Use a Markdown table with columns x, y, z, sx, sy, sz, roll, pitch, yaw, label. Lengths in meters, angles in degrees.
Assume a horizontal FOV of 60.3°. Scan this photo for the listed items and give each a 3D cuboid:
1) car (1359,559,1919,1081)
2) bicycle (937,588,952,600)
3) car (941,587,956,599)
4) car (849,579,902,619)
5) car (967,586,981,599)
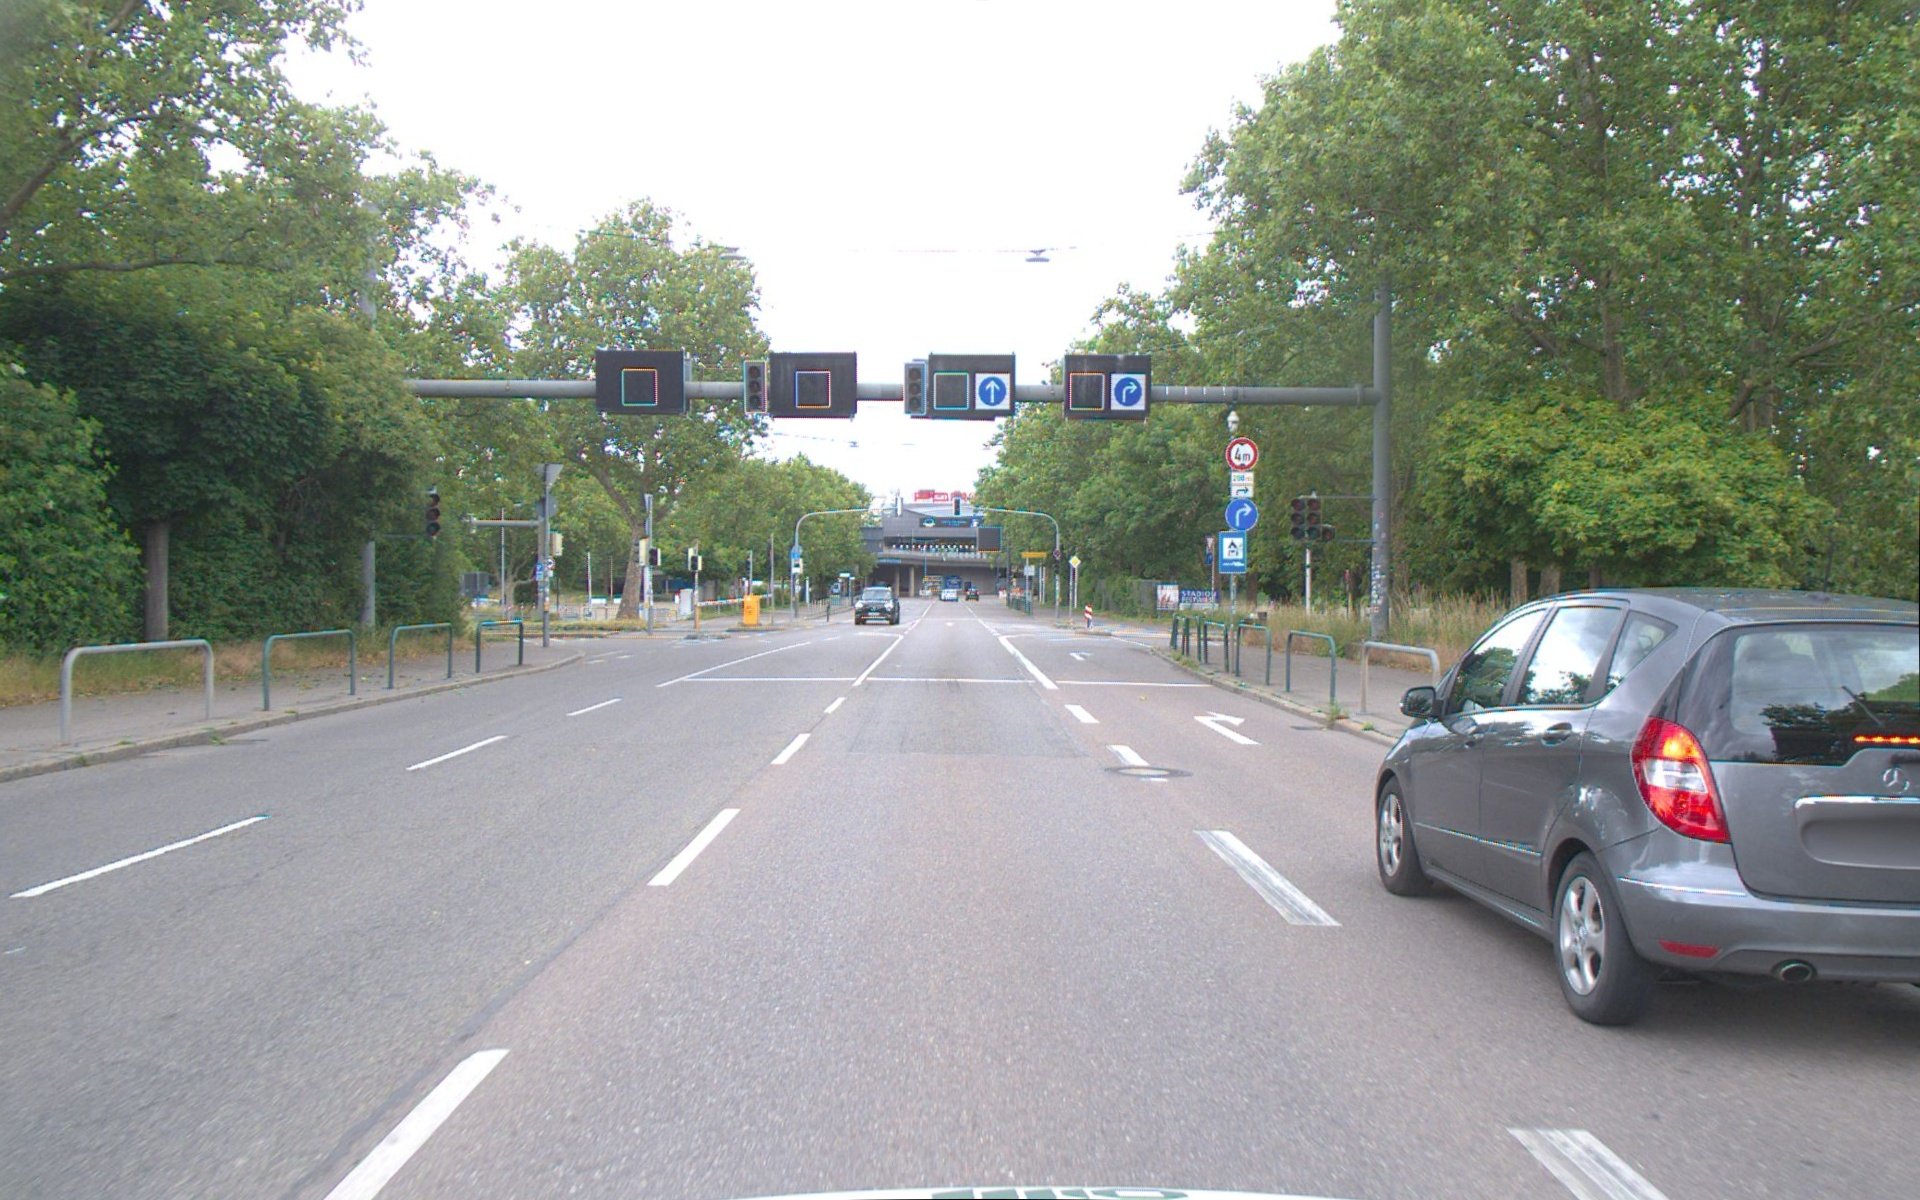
| x | y | z | sx | sy | sz | roll | pitch | yaw | label |
| --- | --- | --- | --- | --- | --- | --- | --- | --- | --- |
| 3.146 | 0.671 | 7.251 | 1.789 | 1.644 | 4.034 | 1 | 1 | 0 | car |
| -2.069 | -0.816 | 220.778 | 1.953 | 1.534 | 3.999 | 1 | 1 | -1 | bicycle |
| -1.490 | -0.888 | 211.578 | 1.742 | 1.486 | 3.822 | 2 | 0 | 1 | car |
| -3.799 | -0.041 | 75.383 | 1.952 | 1.689 | 4.518 | -1 | 0 | 2 | car |
| 2.051 | -1.047 | 235.343 | 1.966 | 1.728 | 4.070 | 1 | 0 | 1 | car |
